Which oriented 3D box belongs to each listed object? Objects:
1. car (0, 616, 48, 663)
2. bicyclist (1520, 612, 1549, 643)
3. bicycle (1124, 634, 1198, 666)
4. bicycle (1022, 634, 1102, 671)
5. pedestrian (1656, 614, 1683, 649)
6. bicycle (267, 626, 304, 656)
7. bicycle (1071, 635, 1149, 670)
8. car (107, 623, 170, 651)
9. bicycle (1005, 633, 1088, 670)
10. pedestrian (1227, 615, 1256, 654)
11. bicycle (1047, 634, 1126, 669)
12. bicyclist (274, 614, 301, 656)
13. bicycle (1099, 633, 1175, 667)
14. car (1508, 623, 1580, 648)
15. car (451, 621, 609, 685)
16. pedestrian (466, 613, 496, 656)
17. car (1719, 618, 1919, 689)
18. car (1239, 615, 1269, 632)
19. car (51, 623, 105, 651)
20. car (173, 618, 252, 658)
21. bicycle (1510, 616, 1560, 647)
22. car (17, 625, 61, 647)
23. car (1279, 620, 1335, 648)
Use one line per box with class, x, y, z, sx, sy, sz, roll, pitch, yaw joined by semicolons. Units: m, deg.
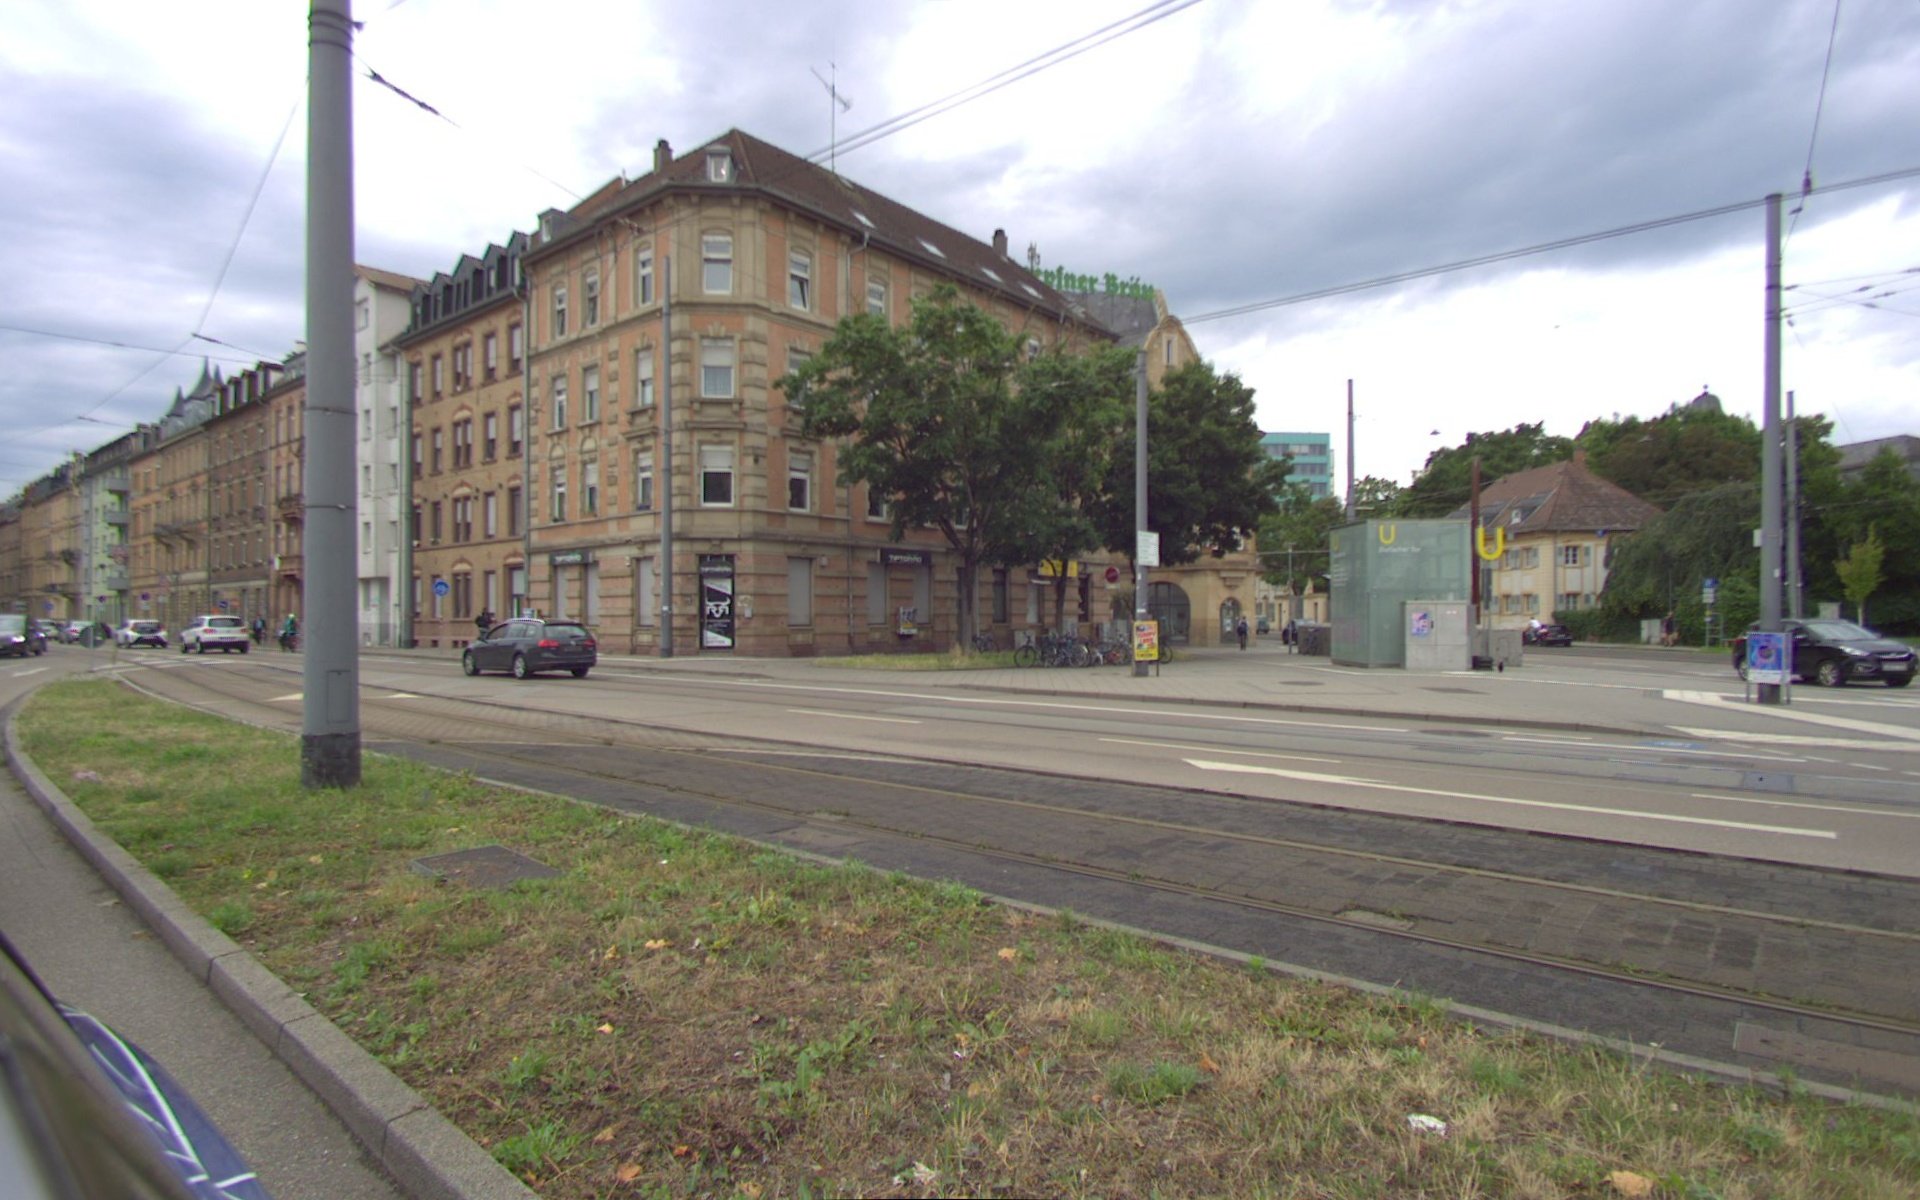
car;-38.033;1.548;40.182;5.131;1.768;2.340;-2;-2;44
bicyclist;34.048;1.618;59.969;1.077;1.796;1.017;0;-1;-2
bicycle;6.738;1.670;34.102;2.395;1.038;0.744;-1;-2;41
bicycle;3.023;1.547;30.285;2.395;1.038;0.744;-1;-2;41
pedestrian;38.517;1.701;54.978;0.797;1.846;0.851;0;-1;-7
bicycle;-30.934;1.861;46.393;2.410;1.302;0.788;-1;-1;41
bicycle;4.693;1.636;31.851;2.395;1.038;0.744;-1;-2;41
car;-43.105;1.916;53.083;4.013;1.442;1.792;-1;-1;39
bicycle;2.511;1.488;29.689;2.395;1.038;0.826;-1;-2;41
pedestrian;14.304;1.746;51.401;1.083;1.911;1.139;-1;-2;34
bicycle;3.870;1.567;31.130;2.395;1.038;0.744;-1;-2;41
bicyclist;-30.707;1.603;46.190;0.923;1.881;0.813;-1;-2;41
bicycle;5.741;1.617;32.896;2.395;1.038;0.744;-1;-2;41
car;35.691;2.152;61.996;1.971;1.442;4.001;0;-1;-2
car;-10.992;1.280;25.732;4.459;1.481;1.865;-1;-1;39
pedestrian;-19.055;1.357;40.232;0.797;1.688;0.802;-1;-2;37
car;21.669;1.262;25.264;1.969;1.623;4.250;0;-1;-6
car;31.792;2.558;109.606;1.971;1.863;4.001;0;-1;-2
car;-55.632;2.290;63.812;4.229;1.716;1.873;-1;-1;39
car;-32.790;1.645;44.377;4.226;1.658;1.812;-1;-1;39
bicycle;34.107;1.859;60.106;1.070;1.763;3.087;0;-1;-2
car;-68.774;2.660;75.558;4.570;1.521;1.796;-1;-1;39
car;21.941;2.152;64.234;2.135;1.727;4.918;1;-2;4
